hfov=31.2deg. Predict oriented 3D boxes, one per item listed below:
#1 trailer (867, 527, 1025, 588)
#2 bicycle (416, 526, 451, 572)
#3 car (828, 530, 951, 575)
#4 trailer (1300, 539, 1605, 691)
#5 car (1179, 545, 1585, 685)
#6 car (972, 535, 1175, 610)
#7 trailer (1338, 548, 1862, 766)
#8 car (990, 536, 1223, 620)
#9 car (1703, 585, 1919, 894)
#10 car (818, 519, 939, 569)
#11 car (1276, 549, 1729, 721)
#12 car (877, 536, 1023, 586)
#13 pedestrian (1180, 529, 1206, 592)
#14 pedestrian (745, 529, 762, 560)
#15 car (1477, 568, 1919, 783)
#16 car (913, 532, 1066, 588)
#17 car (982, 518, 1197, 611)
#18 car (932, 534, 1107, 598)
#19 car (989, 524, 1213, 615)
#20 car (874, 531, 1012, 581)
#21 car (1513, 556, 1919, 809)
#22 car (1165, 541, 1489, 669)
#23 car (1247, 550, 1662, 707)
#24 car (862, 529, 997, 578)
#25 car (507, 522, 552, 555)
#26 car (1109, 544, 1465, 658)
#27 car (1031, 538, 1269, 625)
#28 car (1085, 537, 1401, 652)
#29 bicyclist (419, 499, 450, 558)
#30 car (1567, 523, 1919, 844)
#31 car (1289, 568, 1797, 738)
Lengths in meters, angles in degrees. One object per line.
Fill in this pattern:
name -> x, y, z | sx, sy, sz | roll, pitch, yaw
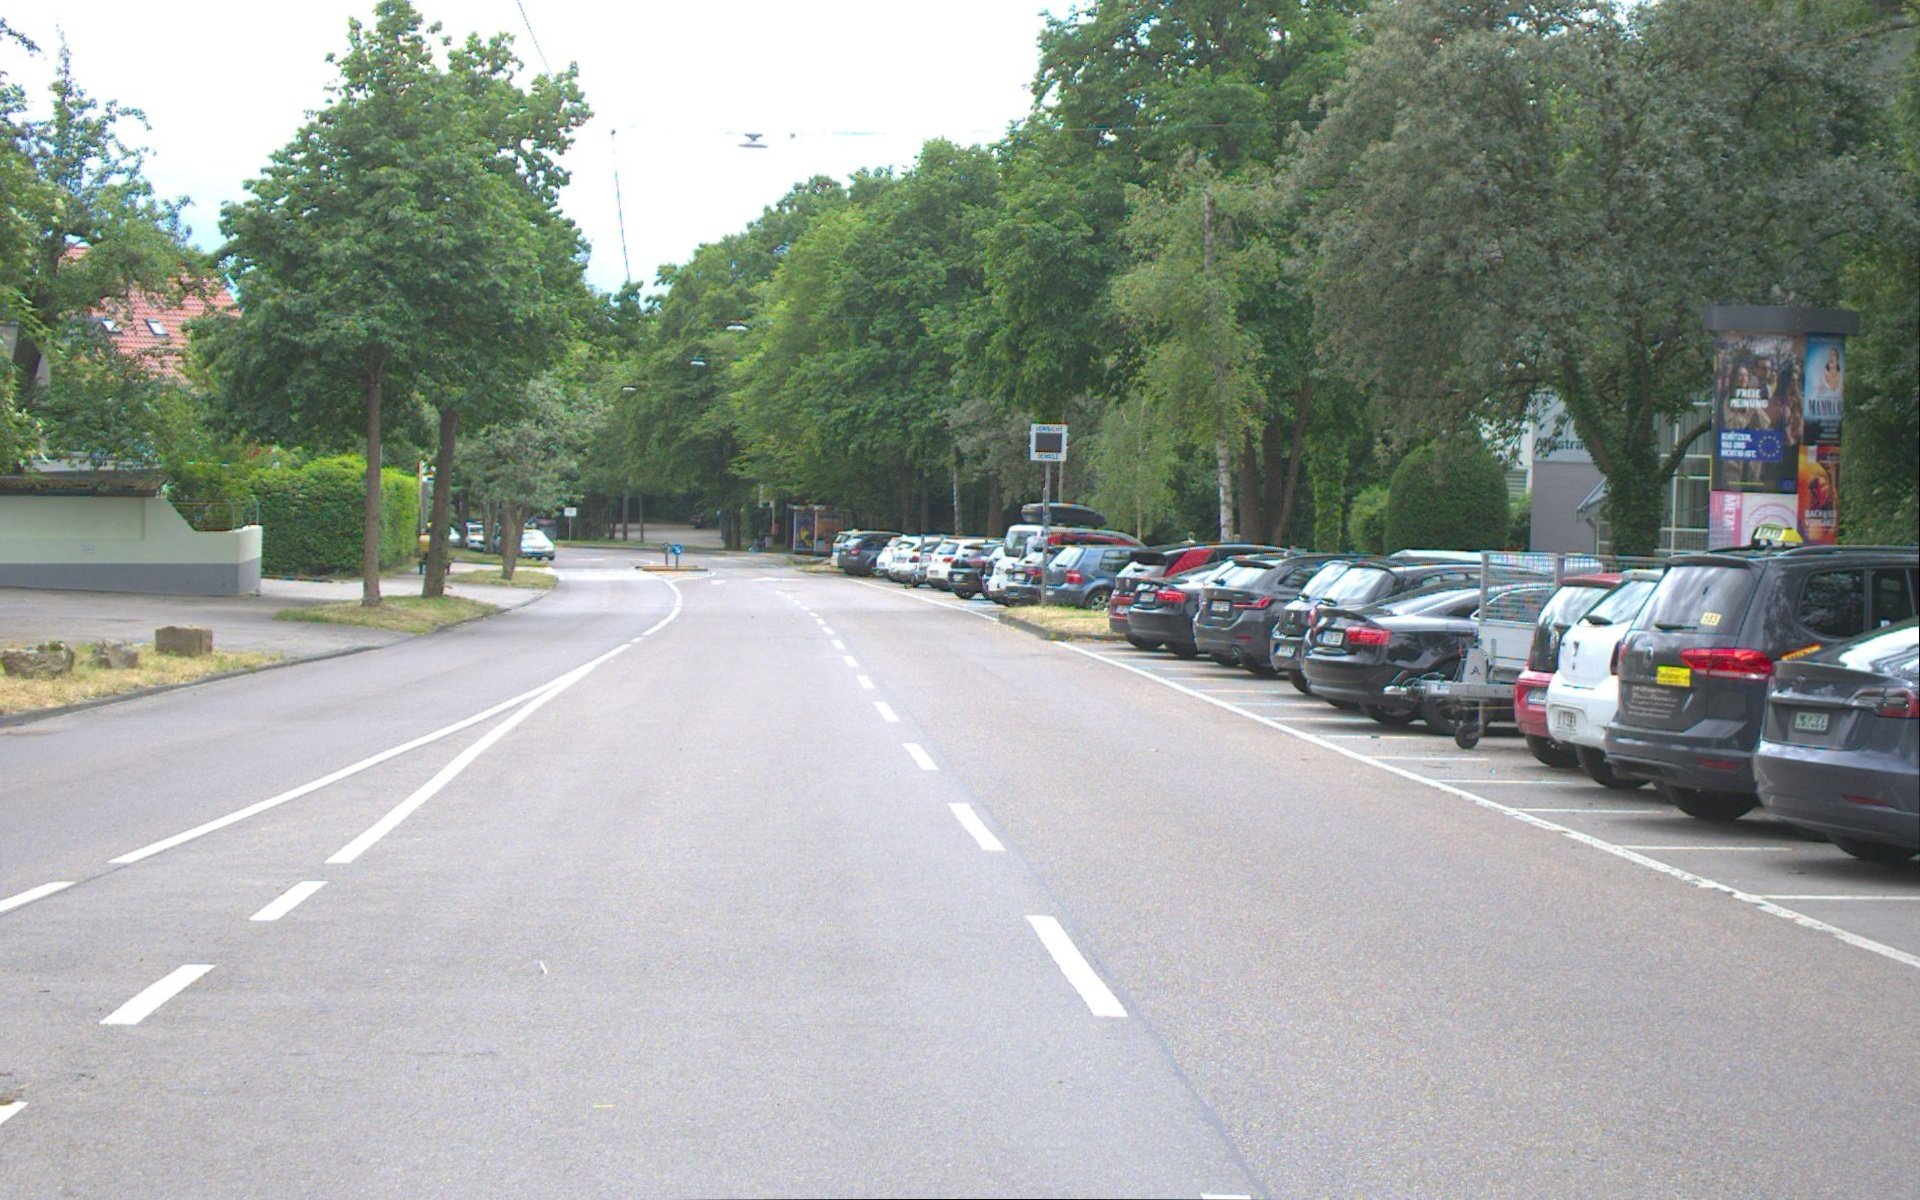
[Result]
trailer -> -0.399, -1.209, 98.515 | 4.153, 1.568, 1.712 | 2, 1, -22
bicycle -> -15.514, -1.521, 101.386 | 0.844, 1.262, 2.653 | 2, 2, -6
car -> -2.447, -1.654, 119.486 | 3.883, 1.424, 1.744 | 2, 1, -23
trailer -> 5.405, 0.158, 37.802 | 2.985, 1.537, 1.304 | 2, 2, -16
car -> 4.902, 0.174, 39.997 | 4.343, 1.440, 1.635 | 2, 2, -17
car -> 2.469, -0.599, 75.023 | 3.965, 1.444, 1.919 | 2, 1, -18
trailer -> 5.073, 0.443, 27.413 | 3.687, 1.530, 1.646 | 2, 1, -14
car -> 2.792, -0.420, 65.729 | 4.026, 1.400, 1.757 | 2, 1, -21
car -> 6.044, 0.706, 17.250 | 4.158, 1.402, 1.698 | 2, 1, -14
car -> -2.902, -1.992, 122.249 | 3.883, 1.662, 1.744 | 2, 1, -23
car -> 5.174, 0.333, 32.846 | 3.910, 1.481, 1.619 | 2, 1, -18
car -> -0.299, -1.147, 101.214 | 3.884, 1.305, 1.744 | 1, 1, -27
pedestrian -> 6.253, -1.069, 92.205 | 0.649, 1.665, 0.743 | 1, 1, 3
pedestrian -> -10.609, -2.850, 176.509 | 0.741, 1.564, 0.651 | 1, 1, 8
car -> 5.713, 0.548, 25.161 | 3.423, 1.440, 1.560 | 2, 1, -15
car -> 0.827, -1.118, 96.400 | 3.883, 1.444, 1.744 | 1, 1, -24
car -> 2.699, -0.738, 71.722 | 4.085, 1.748, 1.787 | 2, 1, -30
car -> 1.482, -0.845, 85.279 | 3.884, 1.444, 1.844 | 1, 1, -27
car -> 2.815, -0.615, 68.836 | 3.995, 1.614, 1.885 | 2, 1, -19
car -> -0.539, -1.375, 106.993 | 3.883, 1.424, 1.744 | 2, 1, -23
car -> 5.752, 0.543, 22.632 | 3.820, 1.524, 1.606 | 2, 1, -7
car -> 4.572, 0.063, 42.939 | 3.609, 1.440, 1.635 | 2, 1, -18
car -> 5.074, 0.285, 35.415 | 3.839, 1.450, 1.635 | 2, 1, -15
car -> -0.979, -1.471, 109.549 | 3.883, 1.424, 1.744 | 2, 1, -23
car -> -20.115, -2.888, 160.617 | 1.866, 1.466, 4.001 | 1, 1, -10
car -> 4.317, 0.008, 45.500 | 4.311, 1.336, 1.734 | 2, 1, -17
car -> 3.505, -0.340, 63.448 | 3.963, 1.400, 1.757 | 2, 1, -18
car -> 3.982, -0.073, 48.331 | 4.070, 1.510, 1.734 | 1, 1, -25
bicyclist -> -15.488, -2.104, 101.377 | 0.844, 1.691, 0.714 | 2, 2, -7
car -> 5.739, 0.486, 19.906 | 3.984, 1.719, 1.681 | 2, 1, -12
car -> 5.058, 0.455, 29.969 | 4.035, 1.323, 1.560 | 2, 0, -12
